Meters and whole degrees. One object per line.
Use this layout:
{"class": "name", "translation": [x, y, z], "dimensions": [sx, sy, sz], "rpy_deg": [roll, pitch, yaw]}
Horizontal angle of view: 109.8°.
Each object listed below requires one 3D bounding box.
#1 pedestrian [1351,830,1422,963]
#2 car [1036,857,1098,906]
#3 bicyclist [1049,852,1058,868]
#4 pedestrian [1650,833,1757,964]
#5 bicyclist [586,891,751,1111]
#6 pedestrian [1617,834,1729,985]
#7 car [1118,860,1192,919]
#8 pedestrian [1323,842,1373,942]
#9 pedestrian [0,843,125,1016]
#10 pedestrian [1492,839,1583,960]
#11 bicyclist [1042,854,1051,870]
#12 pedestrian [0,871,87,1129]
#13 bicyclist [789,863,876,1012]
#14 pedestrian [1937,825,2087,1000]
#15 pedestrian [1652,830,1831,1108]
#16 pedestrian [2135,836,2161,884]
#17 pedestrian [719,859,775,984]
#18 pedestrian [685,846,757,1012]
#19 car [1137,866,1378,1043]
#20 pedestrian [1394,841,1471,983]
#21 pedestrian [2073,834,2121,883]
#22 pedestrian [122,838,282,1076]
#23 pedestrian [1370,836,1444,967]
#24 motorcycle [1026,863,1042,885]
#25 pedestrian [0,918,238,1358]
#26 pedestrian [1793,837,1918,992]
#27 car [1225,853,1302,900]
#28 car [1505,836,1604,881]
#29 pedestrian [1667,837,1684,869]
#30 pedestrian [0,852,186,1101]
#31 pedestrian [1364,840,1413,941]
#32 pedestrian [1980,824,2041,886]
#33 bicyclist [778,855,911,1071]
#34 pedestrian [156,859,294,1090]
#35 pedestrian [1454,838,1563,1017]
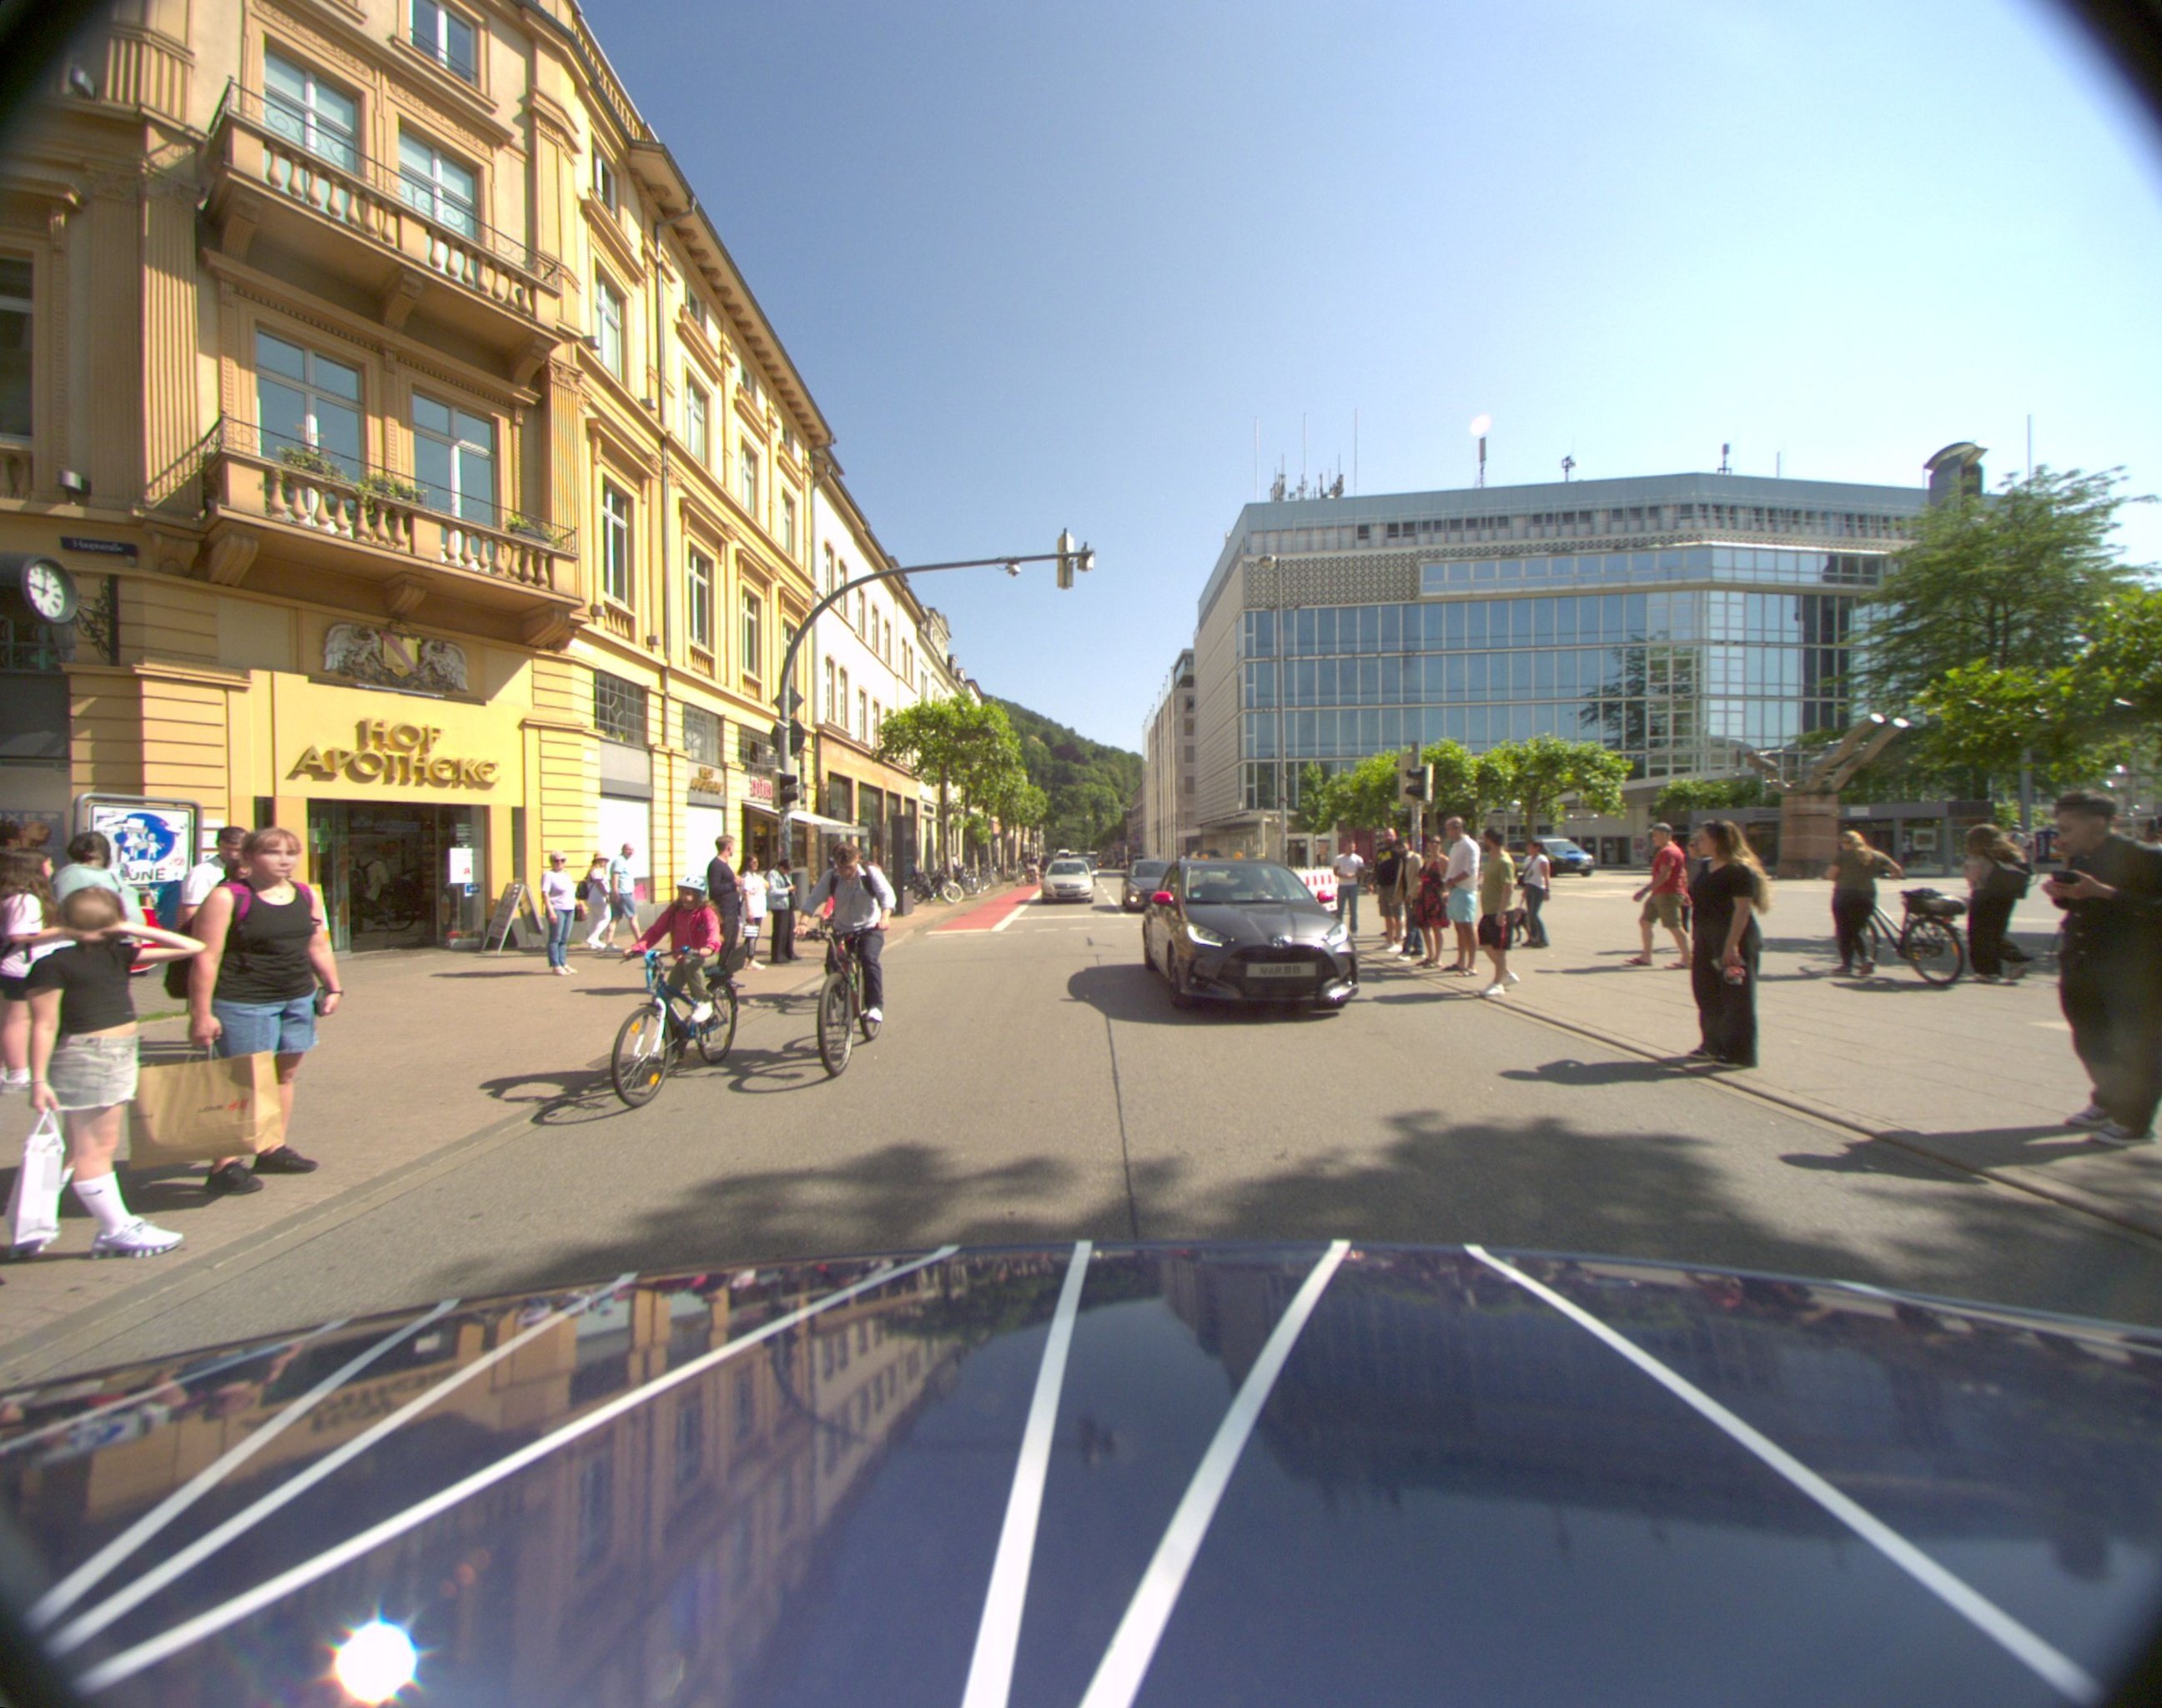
{"class": "pedestrian", "translation": [4.598, 0.619, 11.470], "dimensions": [0.639, 1.909, 0.860], "rpy_deg": [-3, 1, -2]}
{"class": "car", "translation": [-0.430, 0.881, 26.240], "dimensions": [1.918, 1.401, 3.999], "rpy_deg": [-3, 1, 1]}
{"class": "bicyclist", "translation": [-2.430, 0.533, 66.718], "dimensions": [0.736, 1.376, 0.734], "rpy_deg": [-3, 1, 0]}
{"class": "pedestrian", "translation": [8.797, 0.601, 10.768], "dimensions": [0.722, 1.737, 0.884], "rpy_deg": [-3, 1, -10]}
{"class": "bicyclist", "translation": [-2.905, 0.995, 5.436], "dimensions": [0.690, 1.388, 0.778], "rpy_deg": [-3, 1, -2]}
{"class": "pedestrian", "translation": [7.230, 0.651, 9.306], "dimensions": [0.751, 1.737, 0.732], "rpy_deg": [-3, 1, -10]}
{"class": "car", "translation": [2.044, 0.950, 21.985], "dimensions": [1.699, 1.397, 3.999], "rpy_deg": [3, 1, 0]}
{"class": "pedestrian", "translation": [4.806, 0.674, 13.679], "dimensions": [0.731, 1.737, 0.640], "rpy_deg": [-2, 1, 24]}
{"class": "pedestrian", "translation": [-11.265, 0.790, 8.279], "dimensions": [0.749, 1.795, 0.733], "rpy_deg": [-1, 1, -20]}
{"class": "pedestrian", "translation": [6.901, 0.670, 11.524], "dimensions": [0.876, 1.737, 0.733], "rpy_deg": [-3, 1, -2]}
{"class": "bicyclist", "translation": [-2.827, 0.617, 62.312], "dimensions": [0.726, 1.271, 0.715], "rpy_deg": [-3, 1, 0]}
{"class": "pedestrian", "translation": [-6.969, 0.913, 4.841], "dimensions": [0.513, 1.594, 0.534], "rpy_deg": [0, 1, 1]}
{"class": "bicyclist", "translation": [-2.790, 0.908, 8.607], "dimensions": [0.690, 1.568, 0.778], "rpy_deg": [-3, 1, -3]}
{"class": "pedestrian", "translation": [9.705, 0.592, 7.948], "dimensions": [0.732, 1.737, 0.640], "rpy_deg": [-2, 1, 13]}
{"class": "pedestrian", "translation": [4.350, 0.714, 5.046], "dimensions": [0.575, 1.704, 0.651], "rpy_deg": [-3, 1, -2]}
{"class": "pedestrian", "translation": [33.201, 0.194, 23.555], "dimensions": [0.464, 1.464, 0.410], "rpy_deg": [-3, 1, -3]}
{"class": "pedestrian", "translation": [-4.662, 0.916, 10.630], "dimensions": [0.578, 1.675, 0.676], "rpy_deg": [1, 0, -12]}
{"class": "pedestrian", "translation": [-4.205, 0.850, 8.919], "dimensions": [0.578, 1.863, 0.680], "rpy_deg": [2, 0, -12]}
{"class": "car", "translation": [1.651, 0.888, 8.463], "dimensions": [1.781, 1.466, 4.000], "rpy_deg": [0, 0, 1]}
{"class": "pedestrian", "translation": [4.487, 0.723, 9.739], "dimensions": [0.639, 1.737, 0.605], "rpy_deg": [-3, 1, -2]}
{"class": "pedestrian", "translation": [31.533, 0.142, 23.579], "dimensions": [0.757, 1.464, 0.555], "rpy_deg": [-3, 1, -3]}
{"class": "pedestrian", "translation": [-7.022, 0.788, 6.099], "dimensions": [0.578, 1.805, 0.605], "rpy_deg": [2, 1, 0]}
{"class": "pedestrian", "translation": [4.530, 0.635, 10.584], "dimensions": [0.639, 1.737, 0.733], "rpy_deg": [-3, 1, -2]}
{"class": "motorcycle", "translation": [-2.587, 1.093, 42.351], "dimensions": [0.736, 1.086, 1.897], "rpy_deg": [-3, 1, 0]}
{"class": "pedestrian", "translation": [-3.989, 1.033, 2.951], "dimensions": [0.673, 1.488, 0.637], "rpy_deg": [-1, 1, -15]}
{"class": "pedestrian", "translation": [8.680, 0.660, 8.545], "dimensions": [0.732, 1.660, 0.640], "rpy_deg": [-2, 1, 13]}
{"class": "car", "translation": [8.880, 1.068, 36.791], "dimensions": [1.994, 2.002, 4.007], "rpy_deg": [-2, 1, 40]}
{"class": "car", "translation": [23.091, 0.202, 37.274], "dimensions": [2.000, 2.002, 3.997], "rpy_deg": [-3, 1, -7]}
{"class": "pedestrian", "translation": [28.576, -0.049, 36.504], "dimensions": [0.464, 1.464, 0.401], "rpy_deg": [-3, 1, -16]}
{"class": "pedestrian", "translation": [-7.229, 0.848, 5.549], "dimensions": [0.578, 1.716, 0.622], "rpy_deg": [-1, 1, 1]}
{"class": "pedestrian", "translation": [5.458, 0.641, 13.483], "dimensions": [0.731, 1.737, 0.640], "rpy_deg": [-2, 1, 24]}
{"class": "pedestrian", "translation": [27.247, 0.029, 22.283], "dimensions": [0.876, 1.737, 0.733], "rpy_deg": [-3, 1, -2]}
{"class": "bicyclist", "translation": [-1.844, 0.815, 6.045], "dimensions": [0.750, 1.568, 0.778], "rpy_deg": [-3, 1, -1]}
{"class": "pedestrian", "translation": [-6.481, 0.881, 5.772], "dimensions": [0.444, 1.679, 0.478], "rpy_deg": [-1, 1, 1]}
{"class": "pedestrian", "translation": [4.380, 0.718, 7.824], "dimensions": [0.639, 1.737, 0.733], "rpy_deg": [-3, 1, -2]}
